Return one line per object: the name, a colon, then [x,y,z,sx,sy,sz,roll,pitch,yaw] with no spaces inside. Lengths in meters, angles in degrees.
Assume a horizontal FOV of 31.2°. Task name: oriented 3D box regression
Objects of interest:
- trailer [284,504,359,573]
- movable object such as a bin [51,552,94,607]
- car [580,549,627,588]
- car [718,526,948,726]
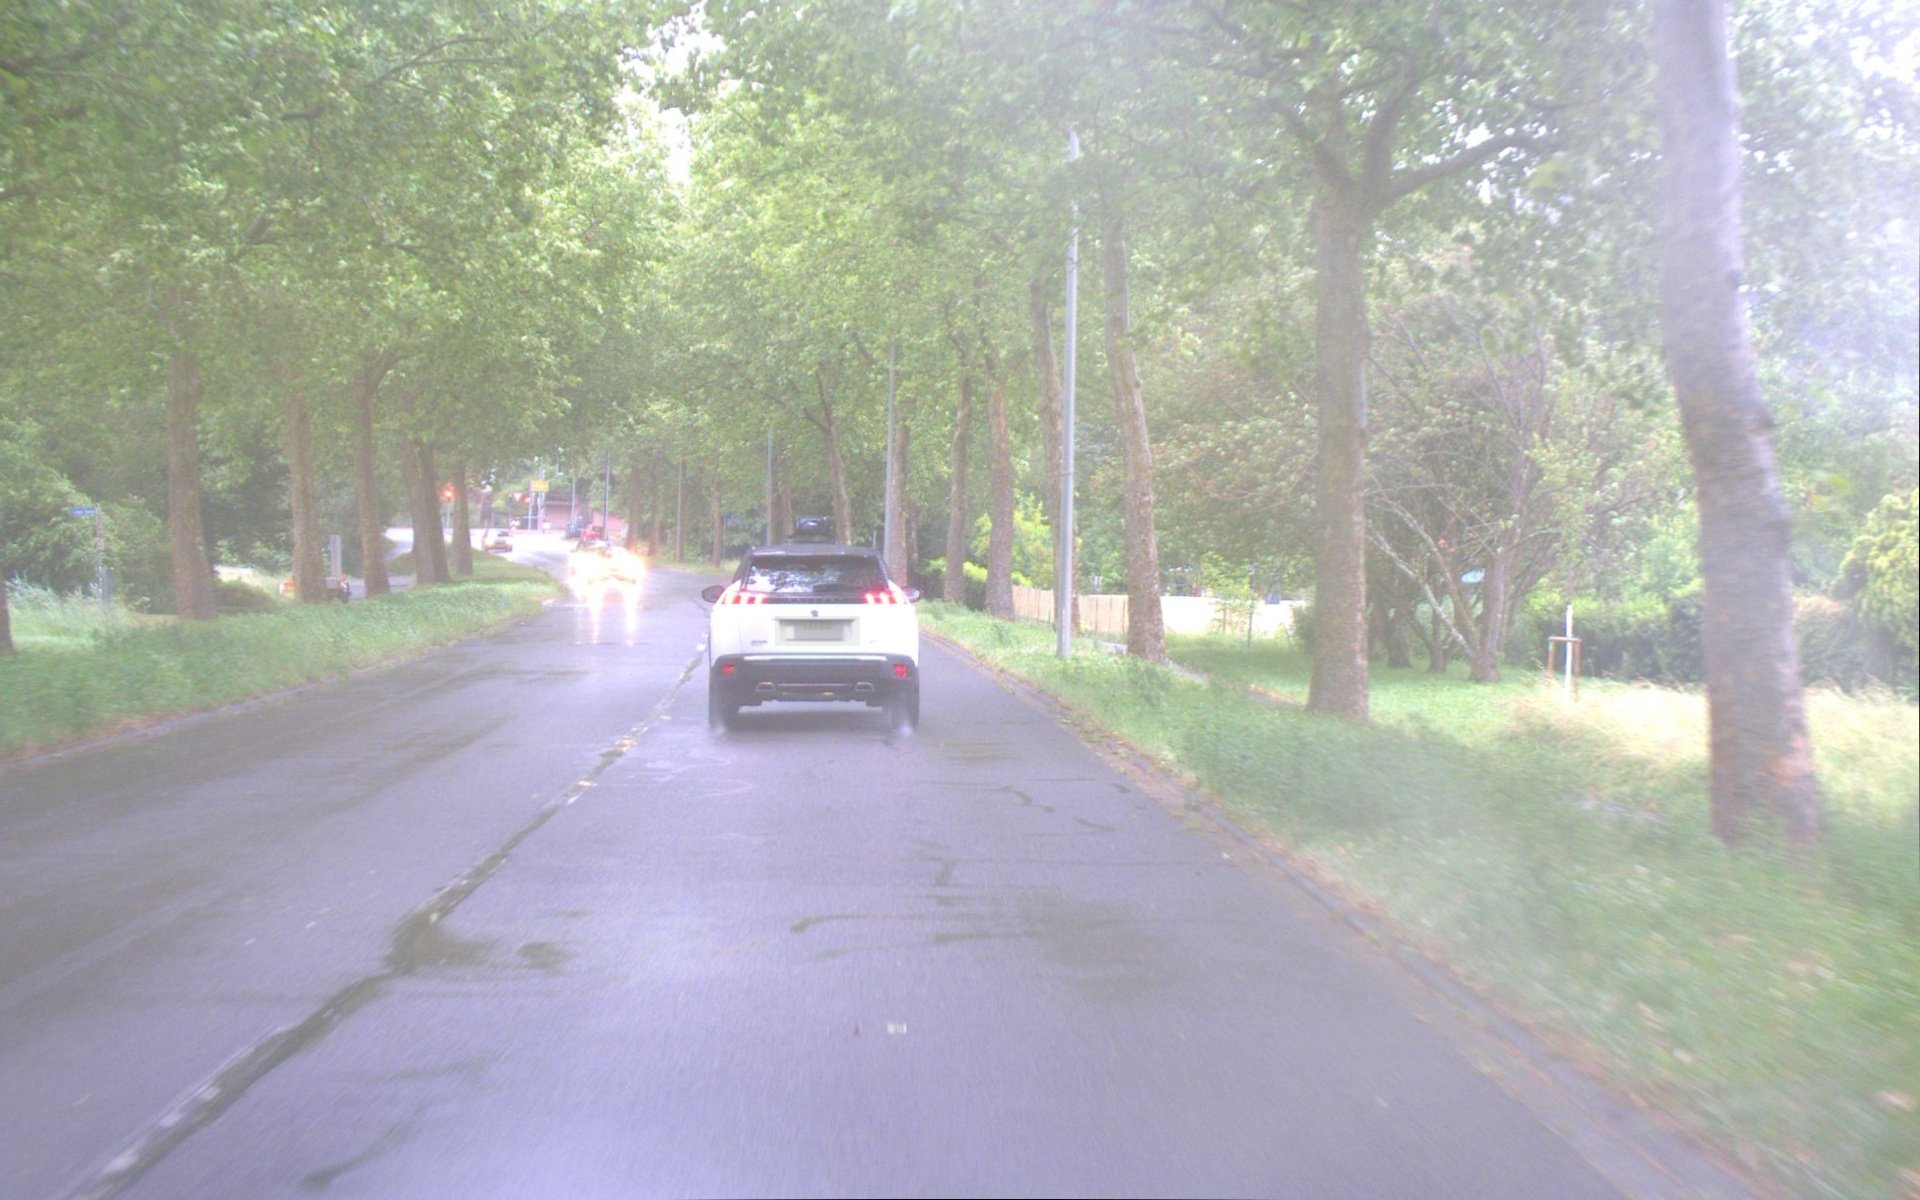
trailer: [-24.872,-2.403,134.041,2.484,2.558,5.334,1,1,-7]
movable object such as a bin: [-23.611,-0.549,91.443,0.962,1.417,0.966,1,1,-7]
car: [-13.393,-1.195,129.198,1.731,1.419,4.226,0,1,-6]
car: [-1.165,0.173,29.872,1.793,1.573,3.845,1,1,-5]
